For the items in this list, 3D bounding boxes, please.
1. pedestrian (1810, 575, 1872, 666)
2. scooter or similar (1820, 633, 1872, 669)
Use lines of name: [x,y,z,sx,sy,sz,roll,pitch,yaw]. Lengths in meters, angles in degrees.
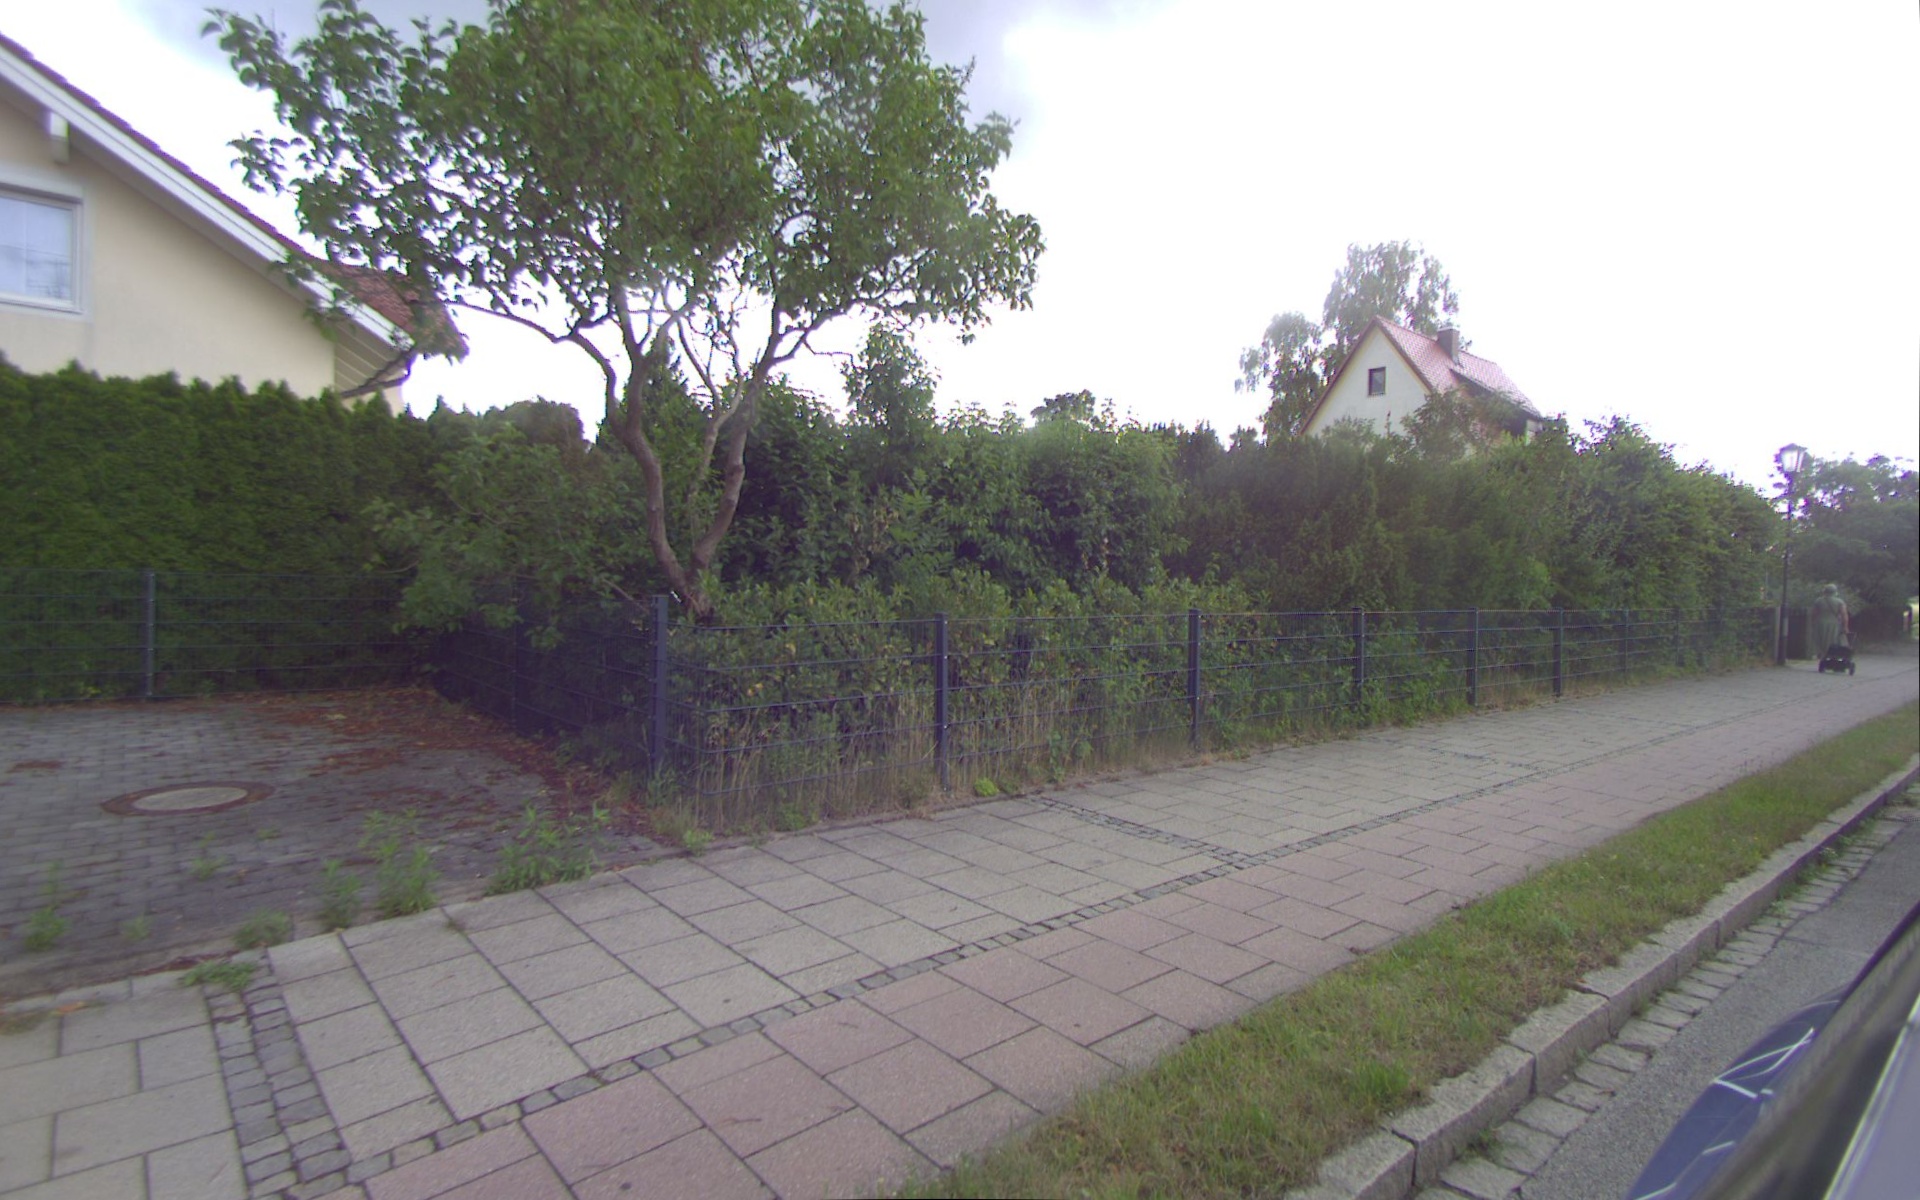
pedestrian: [16.220,0.358,18.635,0.660,1.622,0.791,0,0,-43]
scooter or similar: [15.797,0.899,18.047,0.730,0.563,0.617,0,3,-44]
